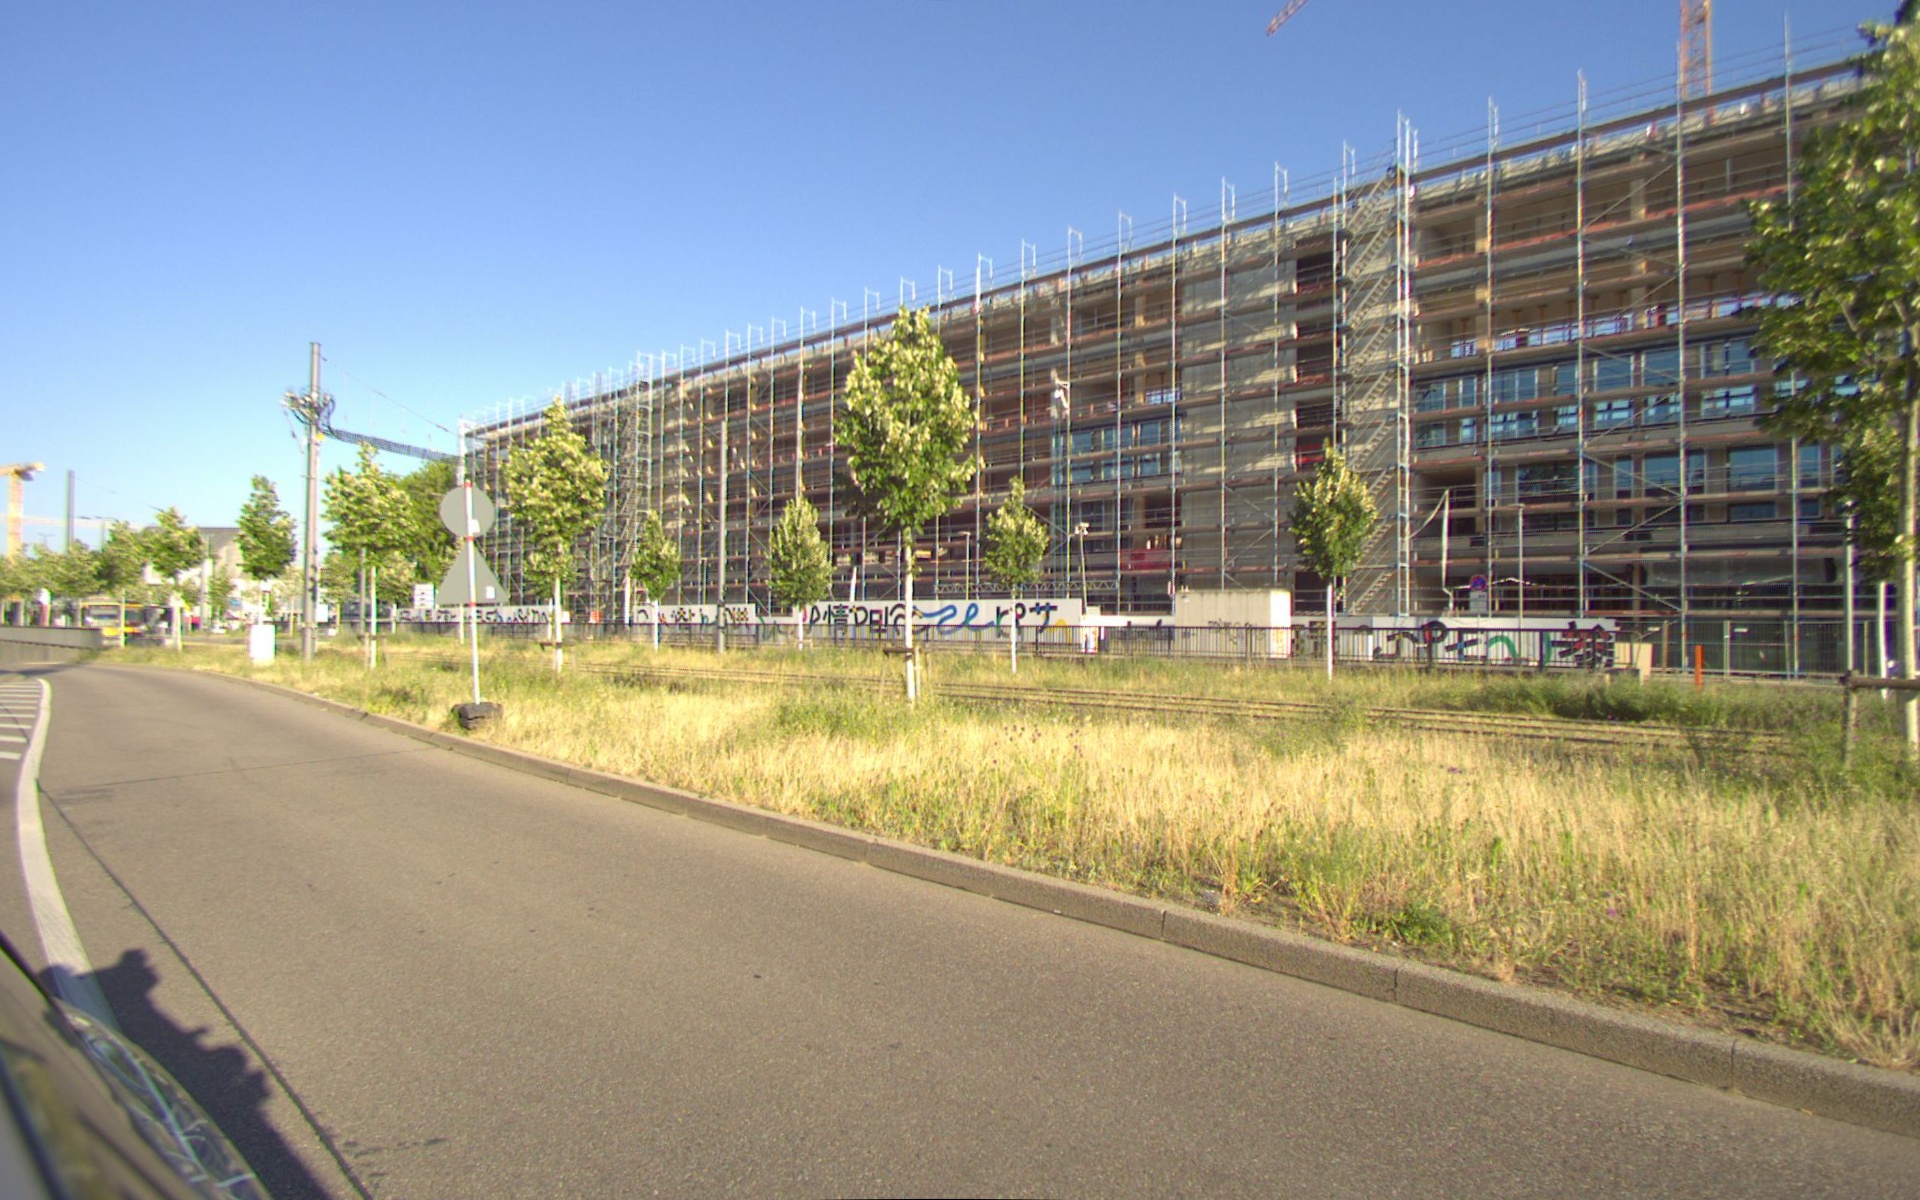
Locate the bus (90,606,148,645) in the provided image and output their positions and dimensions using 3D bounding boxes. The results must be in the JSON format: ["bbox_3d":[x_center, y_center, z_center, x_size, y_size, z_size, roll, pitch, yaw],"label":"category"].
[{"bbox_3d":[-74.130,2.264,89.150,8.653,3.247,2.688,-1,-3,42],"label":"bus"}]

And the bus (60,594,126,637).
[{"bbox_3d":[-68.978,1.283,80.432,8.650,3.247,2.689,-1,-3,41],"label":"bus"}]

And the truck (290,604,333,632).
[{"bbox_3d":[-60.172,1.688,93.849,4.739,2.593,2.115,-1,-3,42],"label":"truck"}]
